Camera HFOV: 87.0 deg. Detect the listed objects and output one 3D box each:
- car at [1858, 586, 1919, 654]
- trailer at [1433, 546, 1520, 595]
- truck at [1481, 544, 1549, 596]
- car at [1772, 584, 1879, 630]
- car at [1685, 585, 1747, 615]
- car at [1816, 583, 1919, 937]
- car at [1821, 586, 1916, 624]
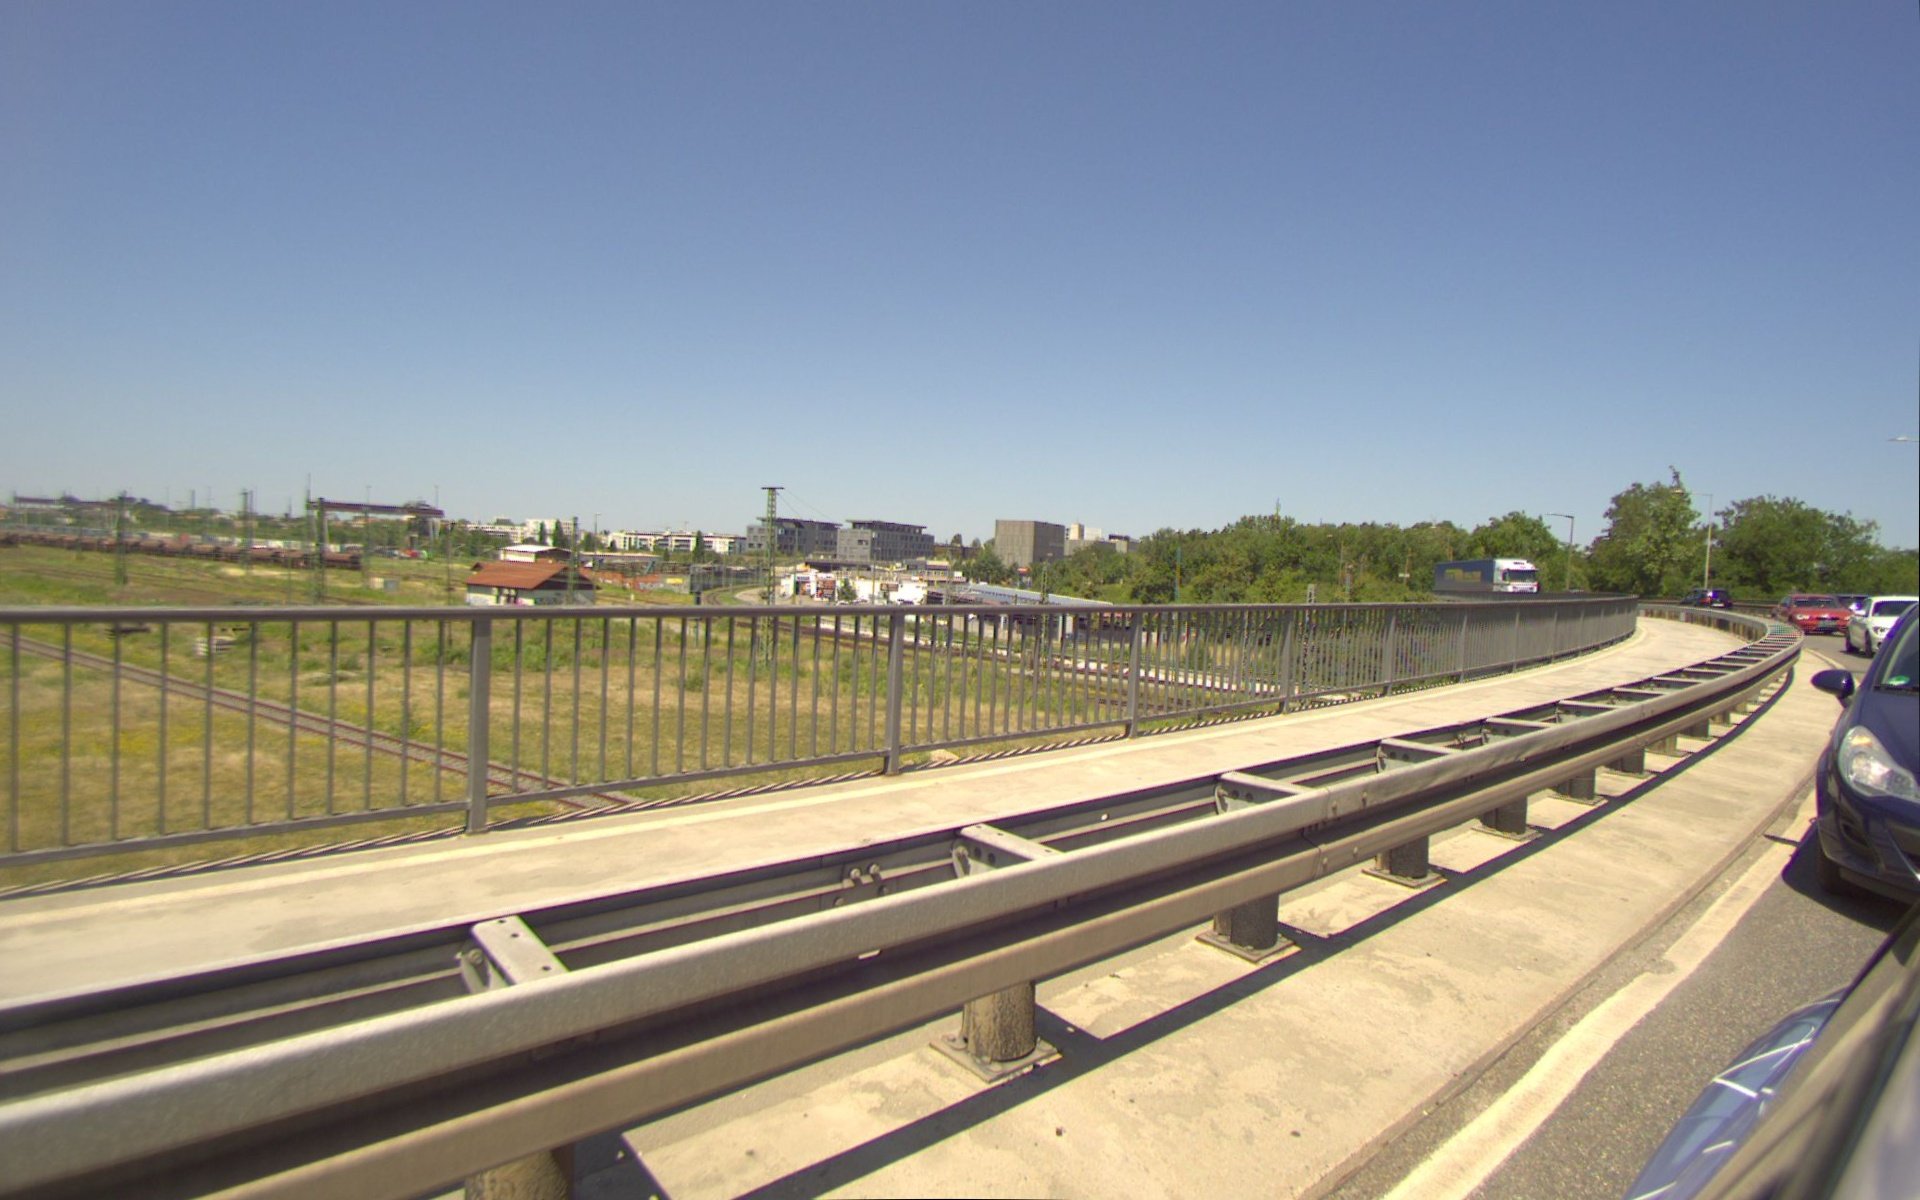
[{"bbox_3d":[22.535,0.425,23.849,1.786,1.473,4.460,1,1,38],"label":"car"},{"bbox_3d":[48.684,-2.745,96.008,2.654,4.287,12.700,0,1,4],"label":"trailer"},{"bbox_3d":[47.980,-2.563,87.708,2.650,4.281,6.829,-1,1,6],"label":"truck"},{"bbox_3d":[30.429,0.189,35.734,1.778,1.473,4.481,2,2,27],"label":"car"},{"bbox_3d":[45.231,-0.045,60.638,1.756,1.646,4.226,1,2,20],"label":"car"},{"bbox_3d":[5.686,0.653,5.204,3.935,1.457,1.641,-1,1,-45],"label":"car"},{"bbox_3d":[37.459,0.165,41.860,1.760,1.456,4.352,2,2,26],"label":"car"}]
